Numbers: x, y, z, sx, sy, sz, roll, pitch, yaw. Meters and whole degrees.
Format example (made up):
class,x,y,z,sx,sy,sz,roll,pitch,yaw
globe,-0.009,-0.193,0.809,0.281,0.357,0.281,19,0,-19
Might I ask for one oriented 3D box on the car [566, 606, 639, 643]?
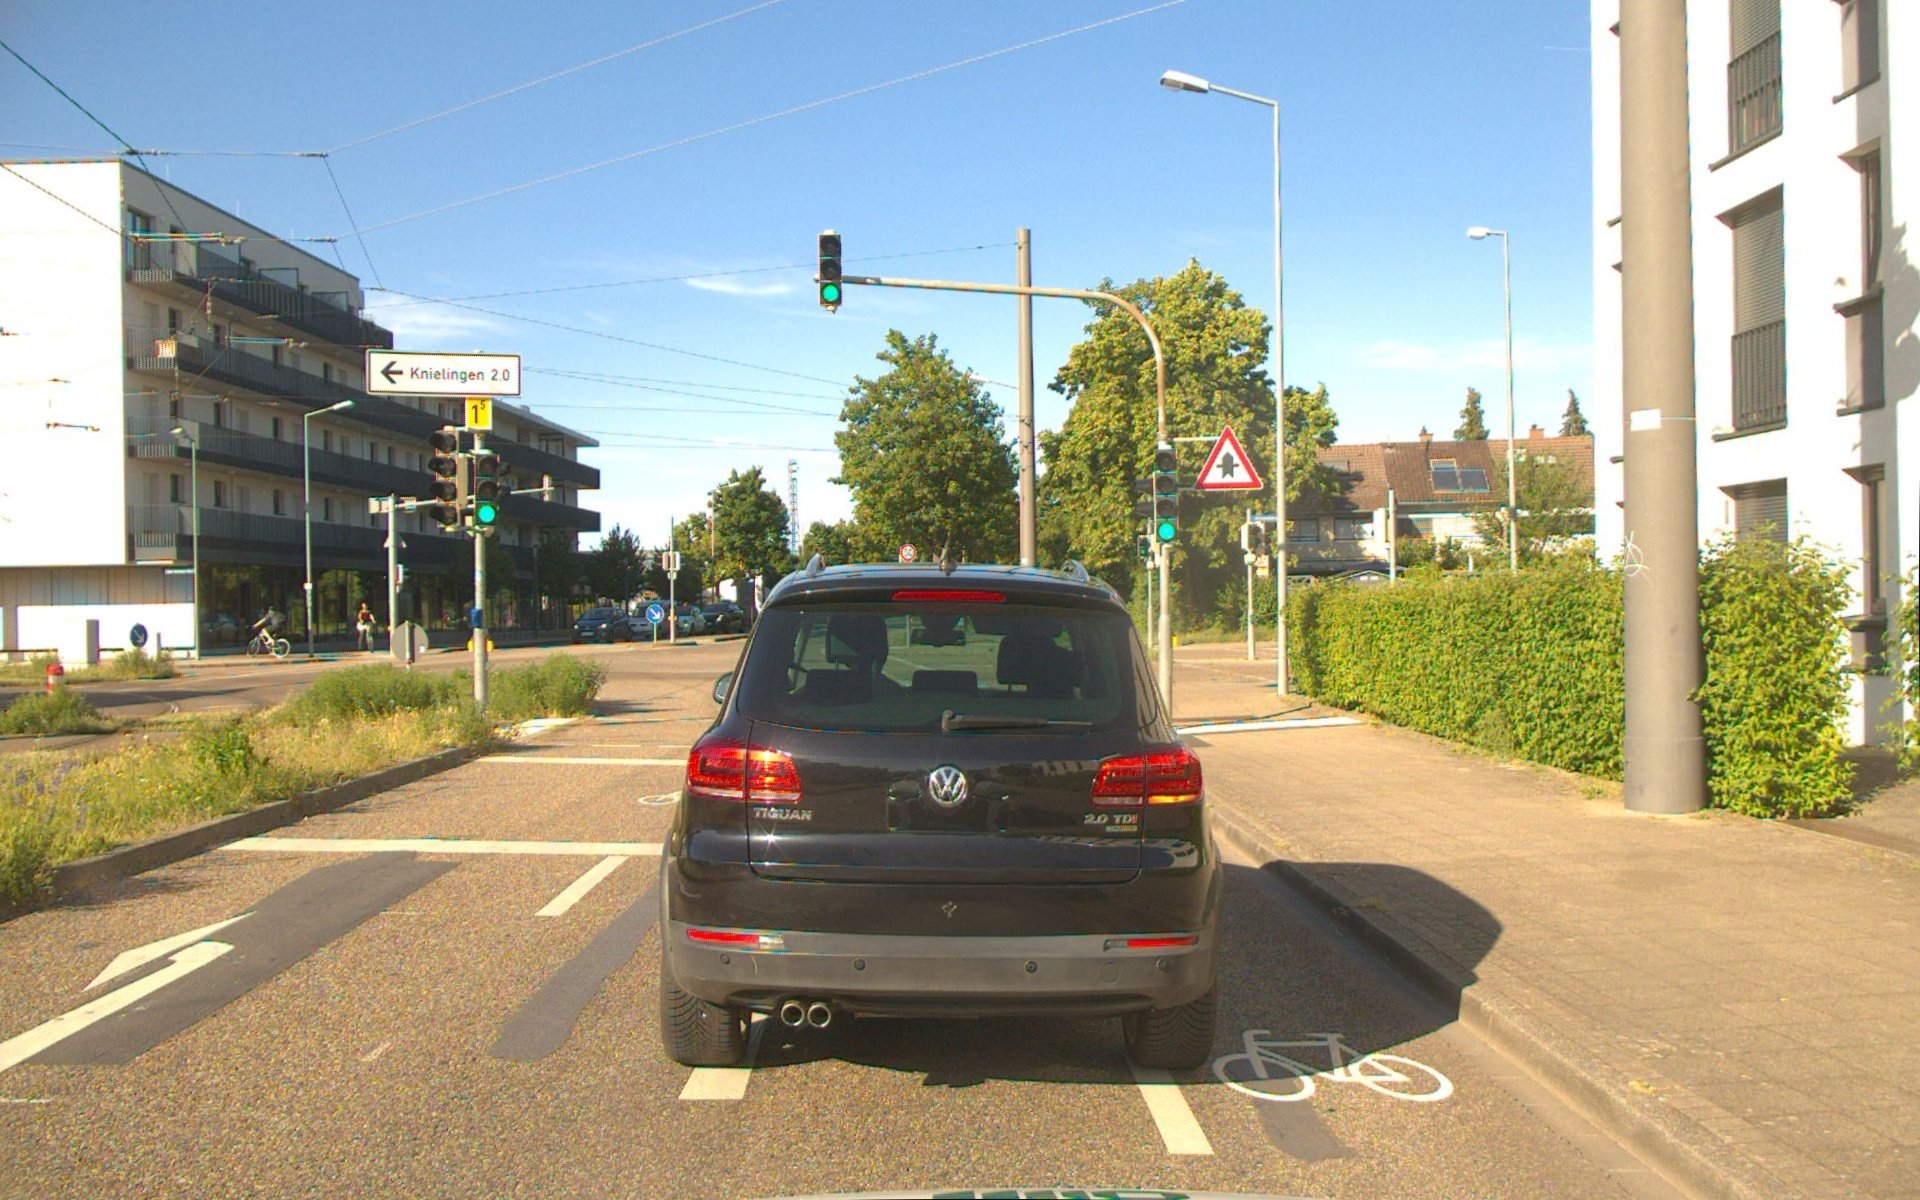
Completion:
class,x,y,z,sx,sy,sz,roll,pitch,yaw
car,-15.290,1.013,70.973,1.659,1.482,4.456,-1,0,7

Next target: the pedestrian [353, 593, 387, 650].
class,x,y,z,sx,sy,sz,roll,pitch,yaw
pedestrian,-21.690,0.788,60.857,0.957,2.049,0.760,-1,0,-3

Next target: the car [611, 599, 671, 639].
class,x,y,z,sx,sy,sz,roll,pitch,yaw
car,-14.984,0.857,77.963,1.953,1.786,4.361,-1,0,0

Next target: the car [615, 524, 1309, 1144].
class,x,y,z,sx,sy,sz,roll,pitch,yaw
car,-0.064,0.660,6.833,1.890,1.683,4.512,1,0,-2

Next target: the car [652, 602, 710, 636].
class,x,y,z,sx,sy,sz,roll,pitch,yaw
car,-13.986,0.945,83.144,1.951,1.513,3.546,-3,0,6

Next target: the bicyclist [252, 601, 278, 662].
class,x,y,z,sx,sy,sz,roll,pitch,yaw
bicyclist,-23.684,1.060,56.339,0.782,2.049,0.805,-1,0,-24

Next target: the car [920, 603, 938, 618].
class,x,y,z,sx,sy,sz,roll,pitch,yaw
car,-3.677,1.259,198.320,1.952,1.768,5.200,-1,0,1

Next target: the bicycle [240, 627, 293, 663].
class,x,y,z,sx,sy,sz,roll,pitch,yaw
bicycle,-23.631,1.515,56.365,1.617,1.164,0.739,-1,0,-25

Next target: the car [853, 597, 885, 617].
class,x,y,z,sx,sy,sz,roll,pitch,yaw
car,-7.580,0.590,137.545,1.951,1.599,4.003,-1,0,7

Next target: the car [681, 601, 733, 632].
class,x,y,z,sx,sy,sz,roll,pitch,yaw
car,-13.577,0.868,89.012,1.926,1.561,4.741,-1,0,1
